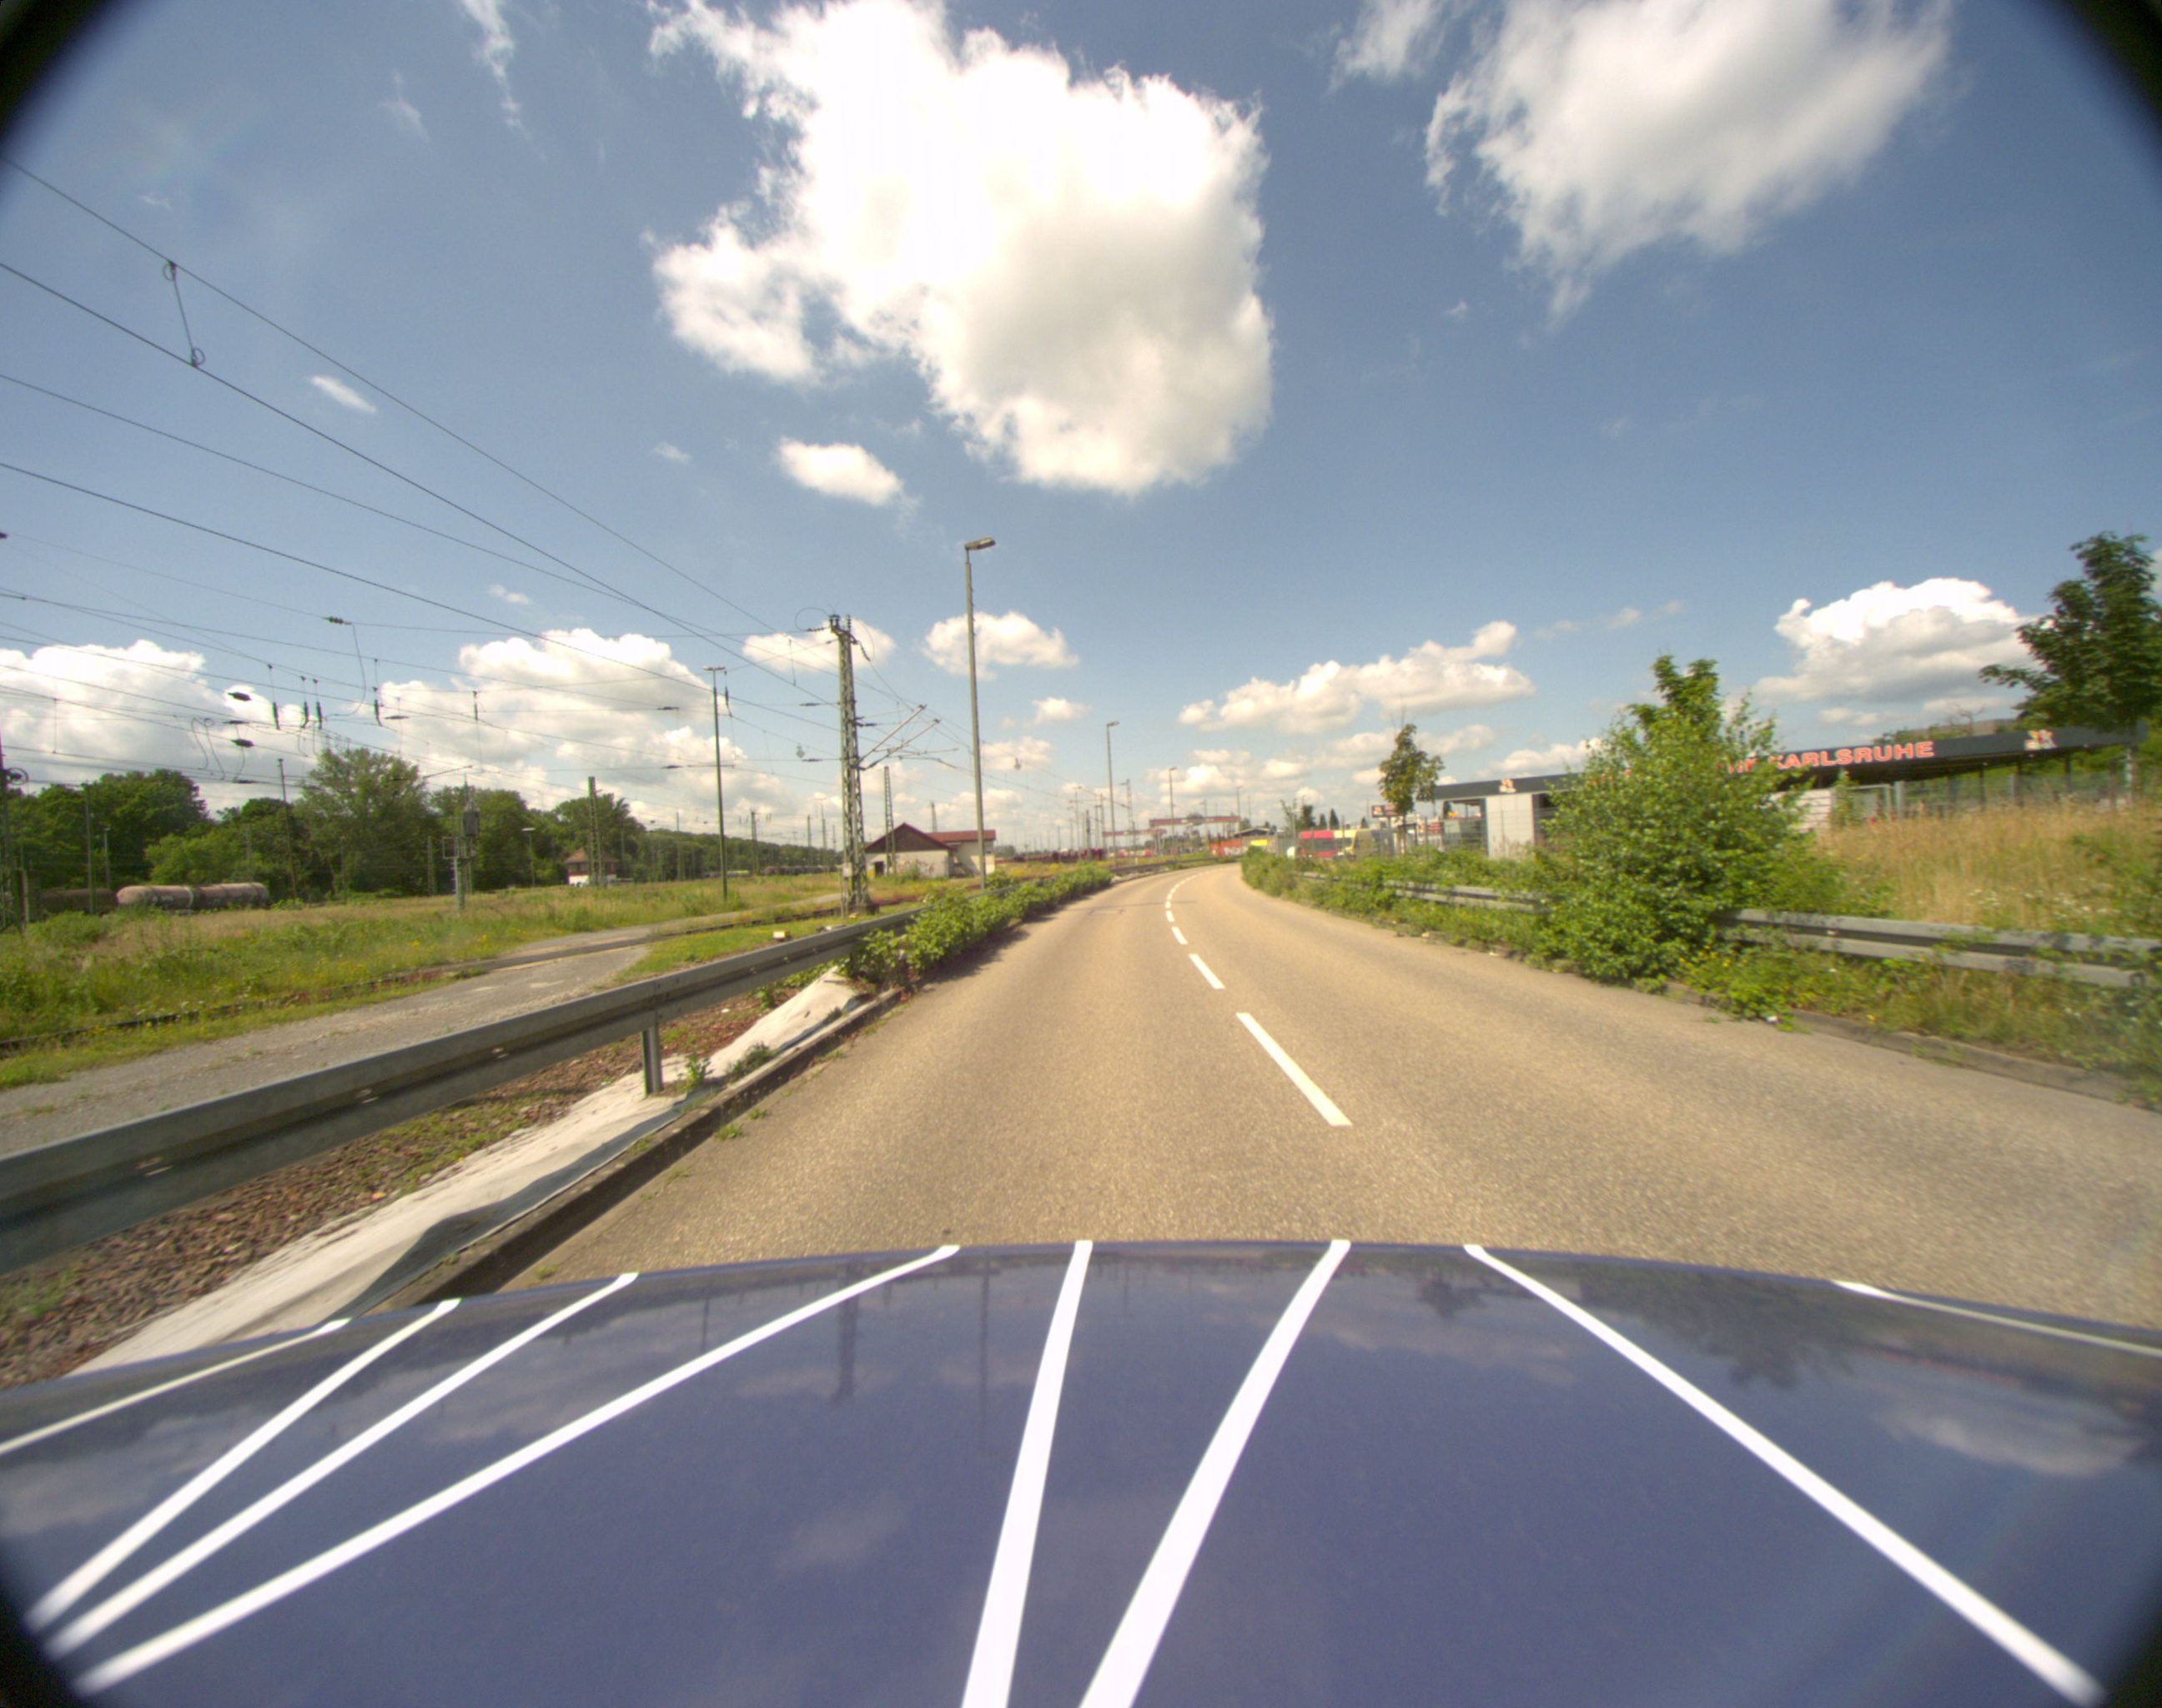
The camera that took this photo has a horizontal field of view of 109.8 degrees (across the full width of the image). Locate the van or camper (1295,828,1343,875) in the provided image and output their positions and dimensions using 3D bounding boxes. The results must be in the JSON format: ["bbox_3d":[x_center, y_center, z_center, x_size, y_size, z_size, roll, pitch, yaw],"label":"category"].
[{"bbox_3d":[13.533,-0.138,43.516,2.191,2.499,5.707,0,1,13],"label":"van or camper"}]

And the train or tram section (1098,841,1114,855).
[{"bbox_3d":[7.042,-1.676,218.887,3.204,3.695,12.548,-3,0,-3],"label":"train or tram section"}]

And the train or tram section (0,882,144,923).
[{"bbox_3d":[-100.834,4.697,74.042,3.034,3.286,13.929,-3,1,-7],"label":"train or tram section"}]

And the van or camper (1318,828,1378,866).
[{"bbox_3d":[18.699,-0.502,53.057,2.243,2.411,5.670,-2,1,37],"label":"van or camper"}]

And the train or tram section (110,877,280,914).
[{"bbox_3d":[-102.715,4.637,88.855,3.034,3.286,15.748,-3,1,-7],"label":"train or tram section"}]
